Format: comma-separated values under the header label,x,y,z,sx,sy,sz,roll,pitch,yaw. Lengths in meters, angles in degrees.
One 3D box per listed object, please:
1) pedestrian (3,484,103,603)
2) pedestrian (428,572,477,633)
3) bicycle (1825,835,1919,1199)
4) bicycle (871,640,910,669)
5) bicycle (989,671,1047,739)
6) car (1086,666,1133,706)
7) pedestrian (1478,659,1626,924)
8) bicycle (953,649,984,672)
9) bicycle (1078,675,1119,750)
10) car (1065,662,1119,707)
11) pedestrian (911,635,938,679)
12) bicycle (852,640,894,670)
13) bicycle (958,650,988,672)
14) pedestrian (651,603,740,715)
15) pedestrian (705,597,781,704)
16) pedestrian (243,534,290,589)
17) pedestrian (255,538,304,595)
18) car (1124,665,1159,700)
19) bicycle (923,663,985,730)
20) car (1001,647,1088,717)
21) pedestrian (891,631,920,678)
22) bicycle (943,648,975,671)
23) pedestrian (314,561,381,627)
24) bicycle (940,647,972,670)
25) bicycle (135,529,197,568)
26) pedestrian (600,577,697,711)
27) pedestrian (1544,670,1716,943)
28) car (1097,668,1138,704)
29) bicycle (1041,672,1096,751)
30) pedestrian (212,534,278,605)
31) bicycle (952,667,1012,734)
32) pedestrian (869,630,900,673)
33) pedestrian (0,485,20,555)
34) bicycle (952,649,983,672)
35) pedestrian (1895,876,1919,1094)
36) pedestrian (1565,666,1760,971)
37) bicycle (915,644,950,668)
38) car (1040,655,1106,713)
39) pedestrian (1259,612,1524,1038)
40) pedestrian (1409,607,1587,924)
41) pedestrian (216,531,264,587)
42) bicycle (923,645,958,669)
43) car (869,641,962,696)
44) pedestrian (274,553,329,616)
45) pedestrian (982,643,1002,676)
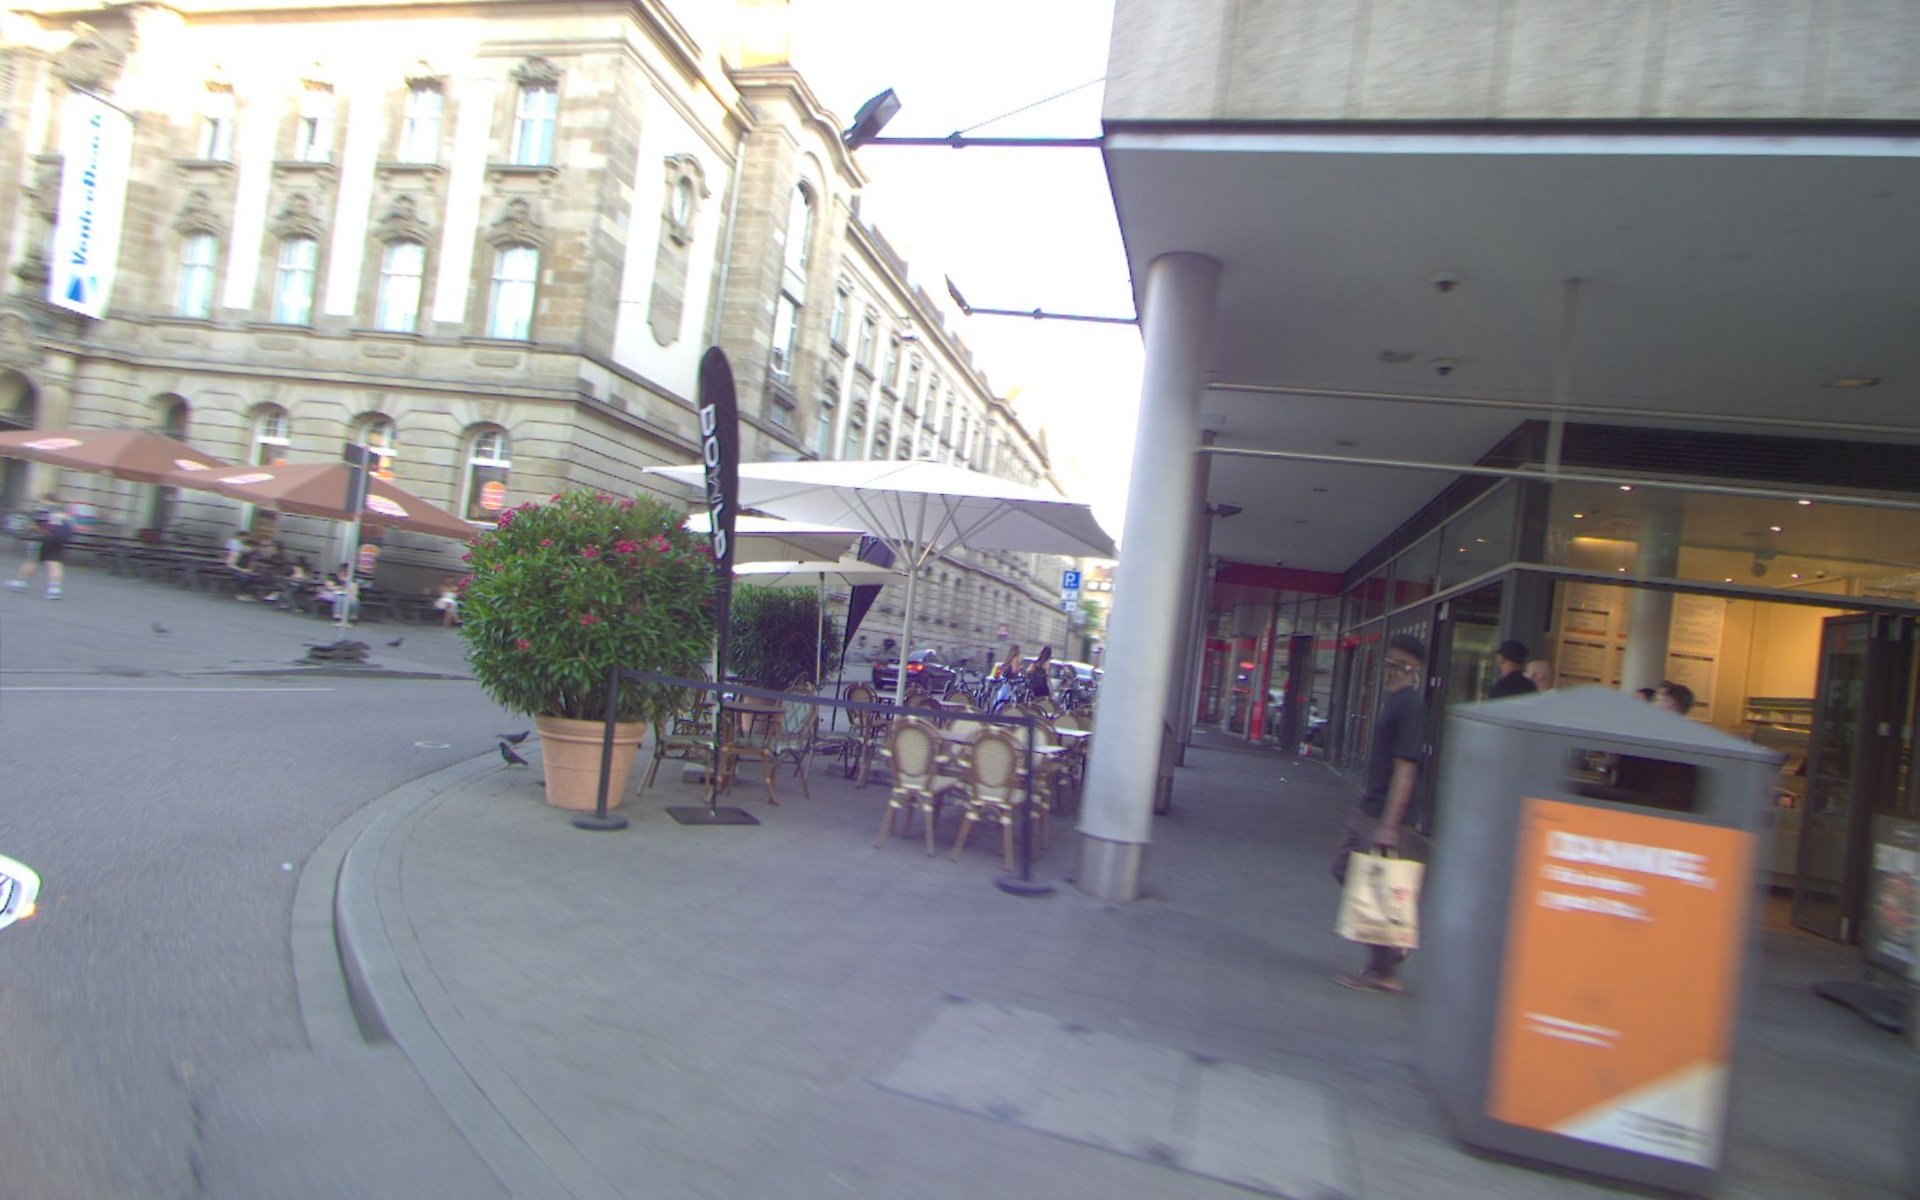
label,x,y,z,sx,sy,sz,roll,pitch,yaw
pedestrian,-15.404,-0.940,17.098,0.791,1.844,0.811,8,-1,20
pedestrian,-12.515,0.064,24.791,0.762,1.324,0.662,11,1,40
bicycle,3.327,1.407,2.675,0.654,1.122,1.860,7,-1,13
bicycle,-3.206,2.525,46.616,1.655,1.053,0.487,9,-1,-2
bicycle,1.024,1.789,17.369,0.550,1.053,1.687,5,-3,16
car,6.965,3.974,46.689,1.618,1.540,3.289,9,-2,15
pedestrian,4.576,1.435,7.833,0.706,1.870,0.665,7,0,21
bicycle,0.507,3.601,59.878,1.653,1.053,0.488,9,-1,14
bicycle,2.328,1.863,17.017,0.536,1.130,1.815,5,-3,7
car,5.448,3.451,41.171,1.618,1.540,3.289,9,-2,15
pedestrian,-1.558,2.481,43.838,0.774,1.772,0.723,9,-1,13
bicycle,-3.793,2.407,43.937,1.654,1.053,0.488,9,-1,21
bicycle,0.787,3.709,61.133,1.653,1.053,0.488,9,-1,14
pedestrian,-4.125,0.931,15.730,0.857,1.598,0.808,7,-3,15
pedestrian,-4.091,0.960,19.050,0.857,1.860,0.868,10,0,10
pedestrian,-18.308,-1.011,26.565,0.571,1.323,0.595,10,-1,13
pedestrian,-17.439,-0.851,25.782,0.597,1.323,0.610,10,-1,11
car,12.358,5.603,68.319,1.841,2.040,3.771,9,-2,15
bicycle,-0.081,1.683,17.646,0.550,1.053,1.687,5,-3,16
car,2.584,2.430,29.946,1.742,1.654,4.058,9,-2,14
pedestrian,-2.252,2.278,41.862,0.686,1.832,0.976,9,-1,13
bicycle,-0.077,3.428,58.179,1.653,1.053,0.488,9,-1,14
pedestrian,-13.306,-0.124,21.865,0.814,1.256,0.781,9,-2,29
bicycle,-0.246,3.382,57.754,1.653,1.053,0.488,9,-1,14
bicycle,-22.133,-1.429,28.057,0.402,0.904,1.323,8,-1,11
pedestrian,-4.668,0.674,15.121,0.857,1.859,0.808,7,-3,15
pedestrian,4.893,1.461,7.400,0.706,1.808,0.665,7,0,16
car,8.176,4.448,52.042,1.618,1.540,3.289,9,-2,15
bicycle,1.762,1.755,16.074,0.536,1.130,1.815,5,-3,14
pedestrian,-15.958,-0.671,22.466,0.641,1.398,0.806,9,-1,26
bicycle,0.406,1.729,17.532,0.550,1.053,1.687,5,-3,16
pedestrian,-3.151,2.167,42.070,0.784,1.694,0.976,9,-1,13
pedestrian,-22.764,-1.942,23.489,0.836,1.584,0.849,8,-1,32
bicycle,0.432,3.566,59.419,1.653,1.053,0.488,9,-1,14
pedestrian,4.627,1.323,4.043,0.795,1.715,0.805,7,0,2
pedestrian,4.604,1.381,6.652,0.706,1.808,0.665,7,0,16
bicycle,-1.478,2.969,53.322,1.653,1.053,0.488,9,-1,14
car,4.078,2.954,35.635,1.742,1.654,4.096,9,-2,12
pedestrian,2.004,0.993,4.823,0.906,1.739,0.766,6,0,16
pedestrian,3.787,1.128,7.152,0.768,2.038,0.689,7,0,16
pedestrian,-18.574,-1.050,25.952,0.571,1.323,0.595,10,-1,11
bicycle,-1.051,3.093,54.518,1.653,1.053,0.488,9,-1,14
car,-1.345,2.210,32.092,1.742,1.424,4.059,6,-3,14
pedestrian,-14.683,-0.340,22.449,0.689,1.240,0.617,9,-1,30
pedestrian,1.890,3.526,59.336,0.791,1.771,0.811,10,-1,13
